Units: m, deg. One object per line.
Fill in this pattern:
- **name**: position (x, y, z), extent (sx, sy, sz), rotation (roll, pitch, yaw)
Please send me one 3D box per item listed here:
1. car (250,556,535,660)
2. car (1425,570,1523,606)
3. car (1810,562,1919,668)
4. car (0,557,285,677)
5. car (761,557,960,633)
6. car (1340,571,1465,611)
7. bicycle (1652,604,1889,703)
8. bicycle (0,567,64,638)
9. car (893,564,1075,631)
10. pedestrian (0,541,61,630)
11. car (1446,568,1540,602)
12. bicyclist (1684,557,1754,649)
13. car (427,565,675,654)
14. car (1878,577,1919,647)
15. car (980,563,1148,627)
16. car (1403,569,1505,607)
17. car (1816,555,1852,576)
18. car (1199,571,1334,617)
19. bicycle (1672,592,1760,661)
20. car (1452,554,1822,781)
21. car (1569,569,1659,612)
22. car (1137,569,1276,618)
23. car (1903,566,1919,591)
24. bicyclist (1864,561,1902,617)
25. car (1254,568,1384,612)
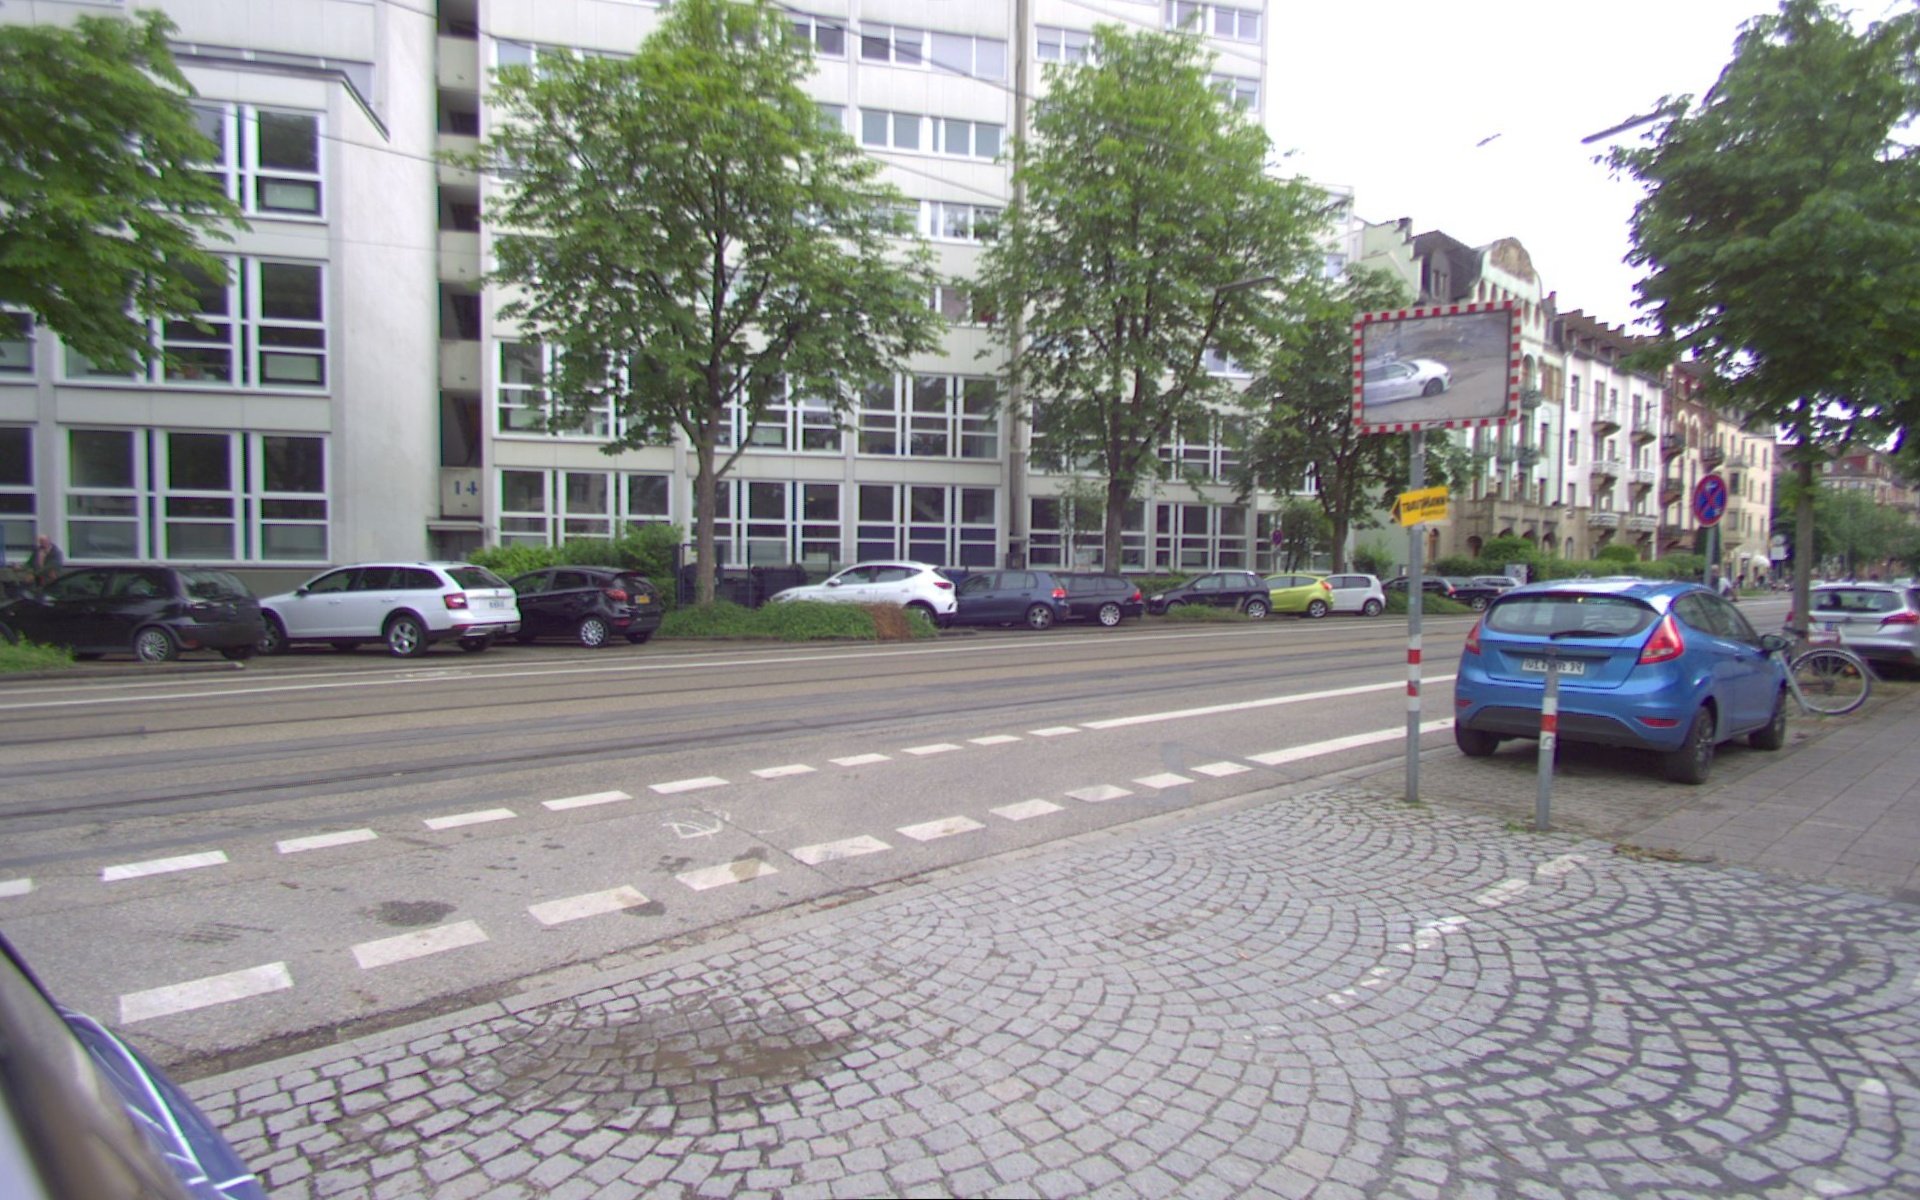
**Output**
- **car**: position (-9.256, 0.068, 16.603), extent (3.988, 1.495, 1.693), rotation (2, 3, 13)
- **car**: position (22.363, -0.553, 44.153), extent (3.700, 1.396, 1.685), rotation (3, 3, 26)
- **car**: position (14.656, 0.174, 15.843), extent (3.509, 1.492, 1.483), rotation (-1, 3, -41)
- **car**: position (-12.081, 0.188, 14.611), extent (3.660, 1.535, 1.697), rotation (1, 3, 6)
- **car**: position (-2.182, -0.149, 22.927), extent (4.287, 1.567, 1.699), rotation (1, 3, 2)
- **car**: position (16.591, -0.361, 38.102), extent (3.918, 1.361, 1.698), rotation (1, 3, 5)
- **bicycle**: position (9.058, 0.562, 11.393), extent (0.526, 0.964, 2.021), rotation (-1, 2, -43)
- **bicycle**: position (-17.439, 0.041, 18.460), extent (1.568, 1.277, 0.407), rotation (-1, 2, -31)
- **car**: position (0.603, -0.097, 24.815), extent (4.292, 1.464, 1.698), rotation (1, 3, 5)
- **pedestrian**: position (-17.664, -0.286, 19.135), extent (0.742, 1.623, 0.737), rotation (2, 2, -19)
- **car**: position (24.302, -0.717, 46.300), extent (3.700, 1.396, 1.685), rotation (3, 3, 26)
- **bicyclist**: position (13.460, 0.043, 17.951), extent (0.969, 1.581, 0.666), rotation (-1, 3, -35)
- **car**: position (-7.480, 0.121, 18.612), extent (3.988, 1.416, 1.693), rotation (2, 3, 13)
- **car**: position (19.623, 0.201, 20.303), extent (3.131, 1.312, 1.515), rotation (-2, 2, -43)
- **car**: position (2.739, -0.157, 27.078), extent (4.292, 1.547, 1.698), rotation (1, 3, 5)
- **car**: position (20.408, -0.523, 41.920), extent (3.700, 1.396, 1.685), rotation (3, 3, 26)
- **car**: position (94.126, -3.652, 108.957), extent (4.151, 2.224, 2.189), rotation (-1, 2, -39)
- **car**: position (10.012, -0.233, 33.328), extent (3.918, 1.361, 1.698), rotation (1, 3, 5)
- **bicycle**: position (13.431, 0.441, 17.963), extent (1.835, 1.125, 0.668), rotation (-1, 4, -35)
- **car**: position (5.642, 0.409, 8.307), extent (3.379, 1.471, 1.682), rotation (-1, 1, -41)
- **car**: position (23.428, -0.374, 36.186), extent (3.939, 1.439, 1.749), rotation (-1, 2, -42)
- **car**: position (7.546, -0.221, 31.263), extent (3.918, 1.361, 1.698), rotation (1, 3, 5)
- **car**: position (95.563, -2.112, 100.572), extent (3.937, 2.435, 2.216), rotation (-1, 2, -40)
- **bicyclist**: position (27.361, -0.333, 29.991), extent (0.905, 1.622, 0.661), rotation (-1, 2, -39)
- **car**: position (12.411, -0.359, 35.172), extent (3.918, 1.361, 1.698), rotation (1, 3, 5)
